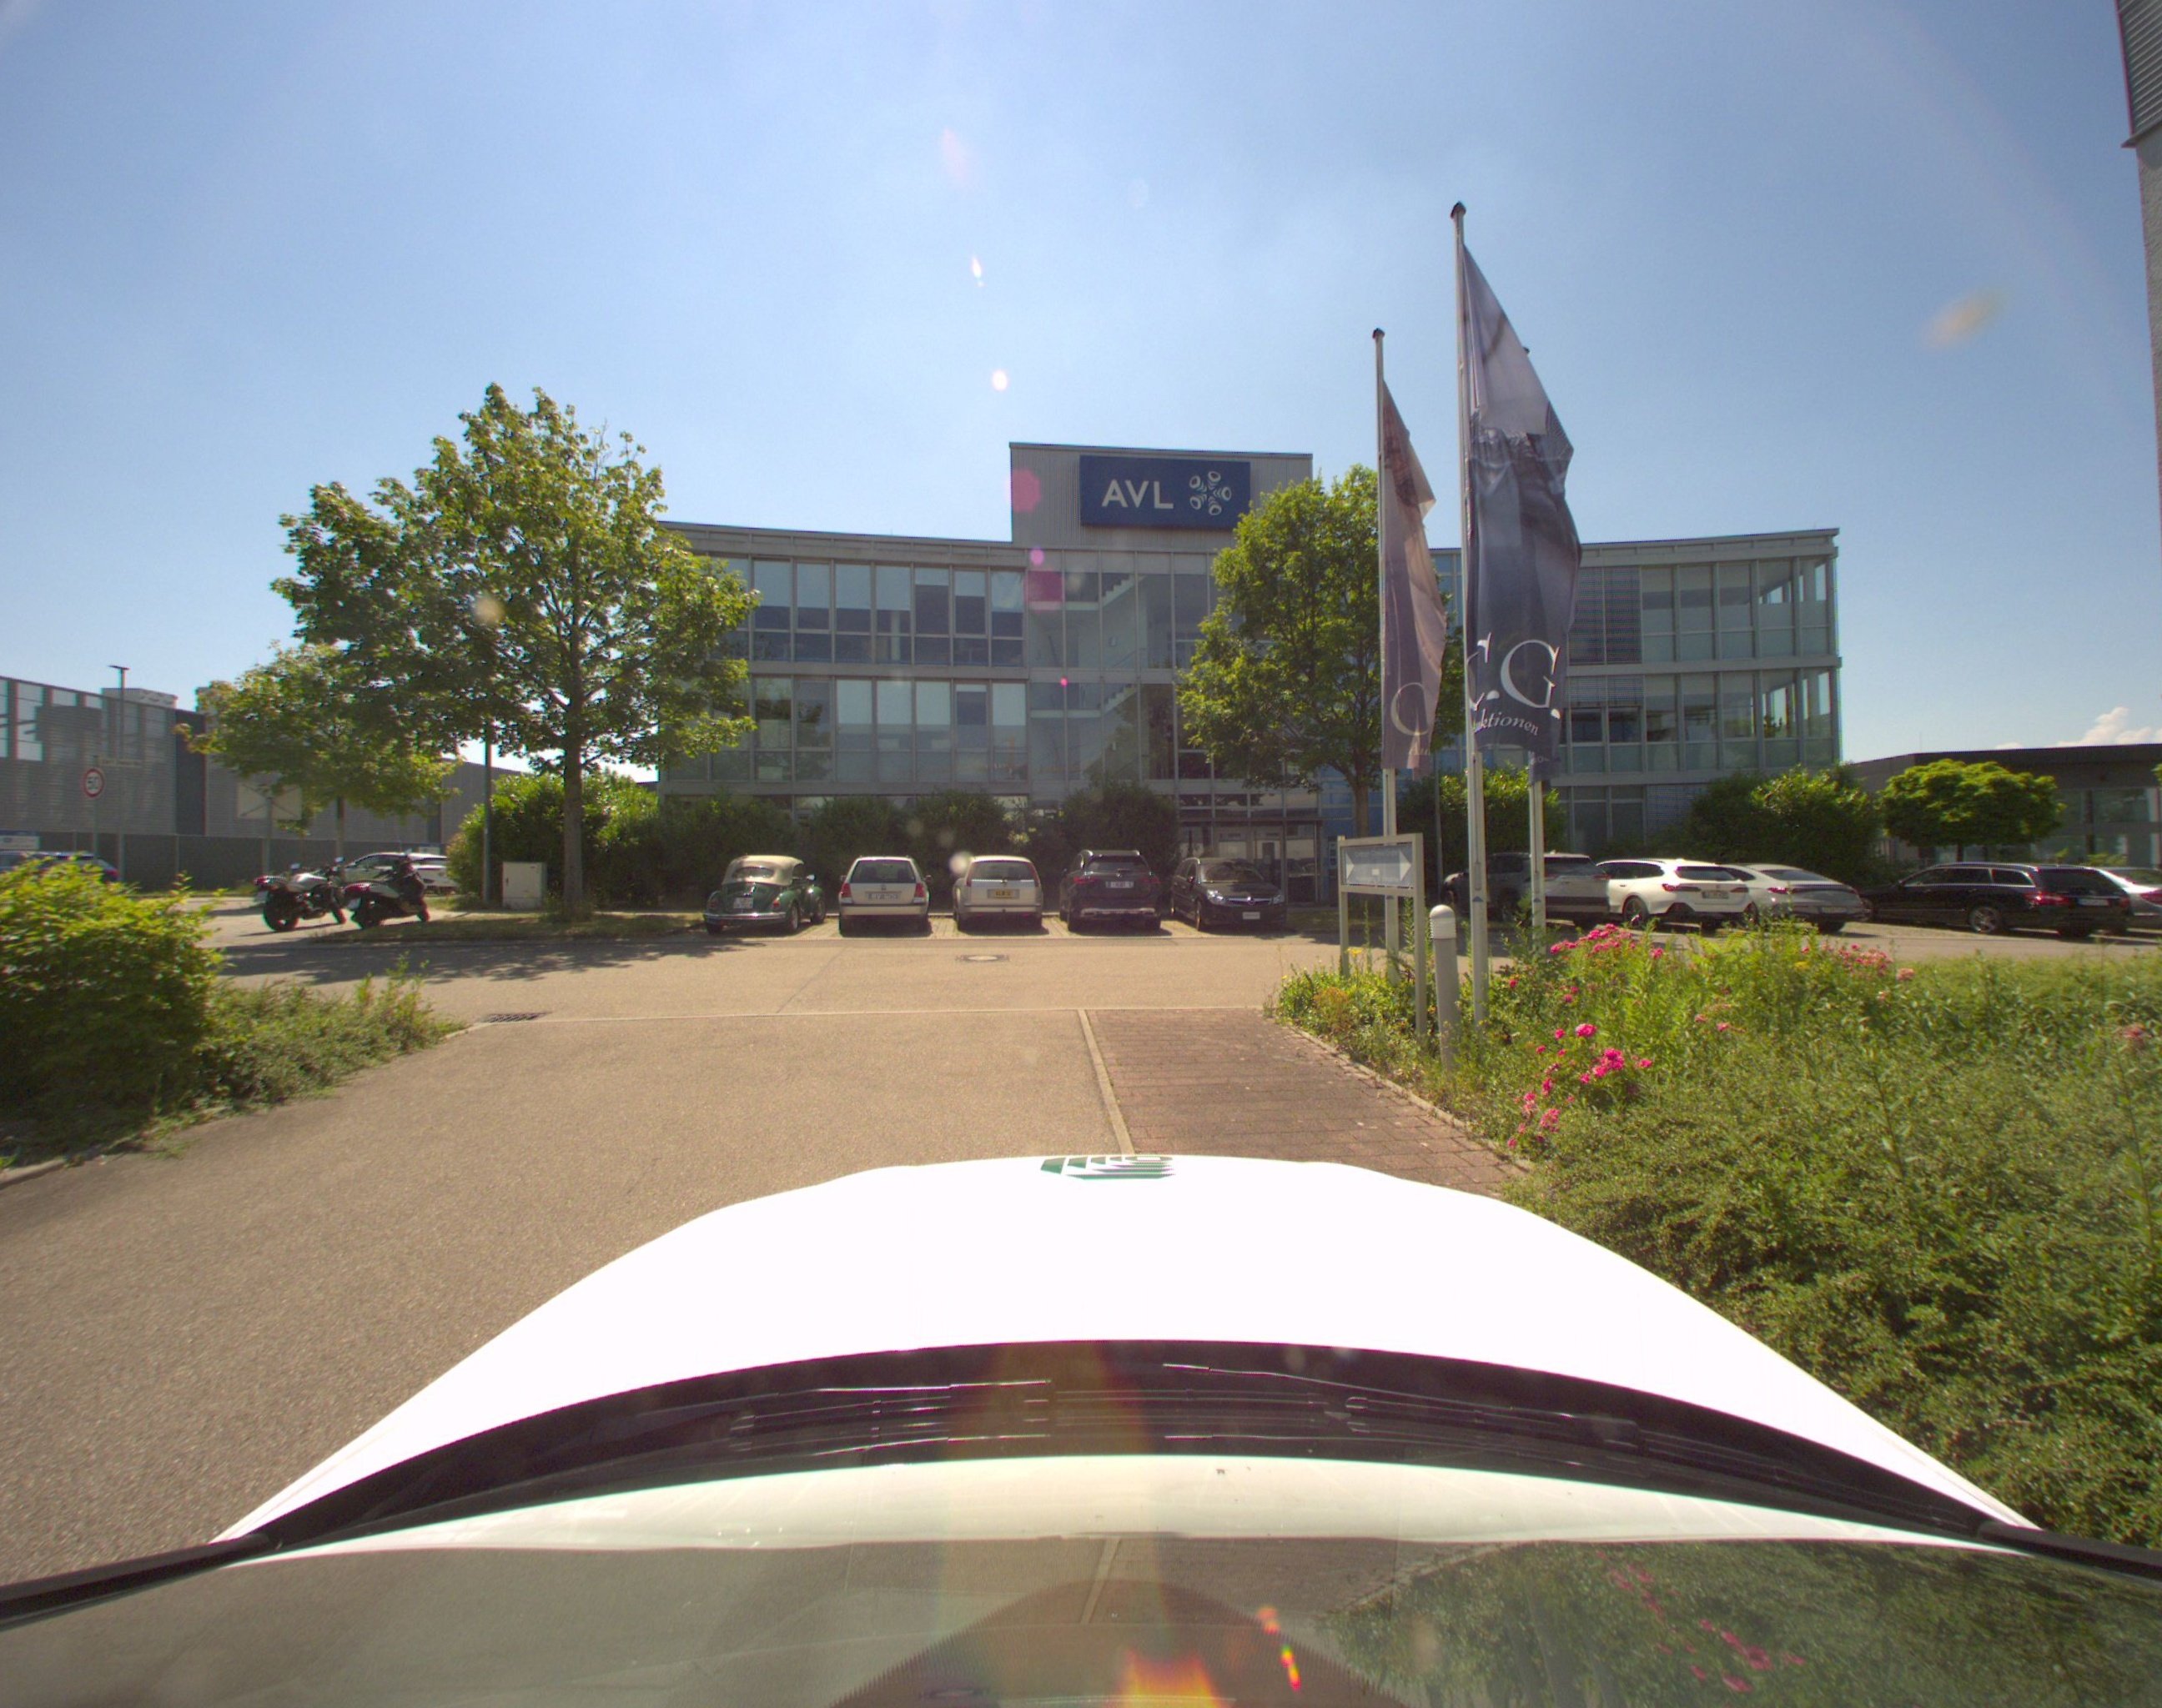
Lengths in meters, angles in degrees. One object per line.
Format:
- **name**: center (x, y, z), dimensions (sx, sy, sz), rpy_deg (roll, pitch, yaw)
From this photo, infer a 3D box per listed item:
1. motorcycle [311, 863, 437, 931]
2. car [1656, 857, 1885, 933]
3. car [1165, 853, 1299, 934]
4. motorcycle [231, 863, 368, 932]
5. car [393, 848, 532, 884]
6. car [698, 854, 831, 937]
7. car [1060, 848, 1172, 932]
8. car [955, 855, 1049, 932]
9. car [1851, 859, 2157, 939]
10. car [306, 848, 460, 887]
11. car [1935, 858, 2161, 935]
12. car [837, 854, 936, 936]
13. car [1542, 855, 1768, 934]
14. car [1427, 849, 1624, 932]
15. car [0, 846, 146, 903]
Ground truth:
- **motorcycle**: center (-12.986, 0.751, 15.048), dimensions (0.712, 1.138, 1.954), rpy_deg (-1, 1, -5)
- **car**: center (15.193, 0.814, 18.316), dimensions (1.728, 1.429, 4.345), rpy_deg (1, 0, 4)
- **car**: center (3.116, 0.750, 17.665), dimensions (1.767, 1.482, 4.251), rpy_deg (-1, 0, -5)
- **motorcycle**: center (-14.252, 0.759, 14.940), dimensions (0.712, 1.138, 1.954), rpy_deg (-1, 1, -5)
- **car**: center (-26.822, 0.495, 35.392), dimensions (4.809, 1.491, 2.006), rpy_deg (0, 0, 9)
- **car**: center (-6.166, 0.735, 16.272), dimensions (1.539, 1.449, 3.646), rpy_deg (0, 0, -6)
- **car**: center (0.628, 0.677, 17.610), dimensions (1.924, 1.610, 3.979), rpy_deg (0, 0, -5)
- **car**: center (-1.792, 0.759, 17.563), dimensions (1.765, 1.449, 3.642), rpy_deg (0, 0, -10)
- **car**: center (19.691, 0.867, 17.755), dimensions (1.728, 1.447, 4.554), rpy_deg (1, 0, 4)
- **car**: center (-27.739, 0.504, 32.435), dimensions (4.809, 1.491, 2.006), rpy_deg (0, 0, 9)
- **car**: center (22.080, 0.858, 18.058), dimensions (1.728, 1.447, 4.554), rpy_deg (1, 0, 4)
- **car**: center (-3.879, 0.755, 16.749), dimensions (1.731, 1.449, 3.642), rpy_deg (0, 0, -10)
- **car**: center (12.507, 0.800, 18.136), dimensions (1.733, 1.491, 4.332), rpy_deg (1, 0, -5)
- **car**: center (9.818, 0.708, 18.444), dimensions (1.817, 1.619, 4.332), rpy_deg (-1, 0, -5)
- **car**: center (-29.165, 0.521, 22.706), dimensions (4.472, 1.491, 2.006), rpy_deg (0, 0, 9)
